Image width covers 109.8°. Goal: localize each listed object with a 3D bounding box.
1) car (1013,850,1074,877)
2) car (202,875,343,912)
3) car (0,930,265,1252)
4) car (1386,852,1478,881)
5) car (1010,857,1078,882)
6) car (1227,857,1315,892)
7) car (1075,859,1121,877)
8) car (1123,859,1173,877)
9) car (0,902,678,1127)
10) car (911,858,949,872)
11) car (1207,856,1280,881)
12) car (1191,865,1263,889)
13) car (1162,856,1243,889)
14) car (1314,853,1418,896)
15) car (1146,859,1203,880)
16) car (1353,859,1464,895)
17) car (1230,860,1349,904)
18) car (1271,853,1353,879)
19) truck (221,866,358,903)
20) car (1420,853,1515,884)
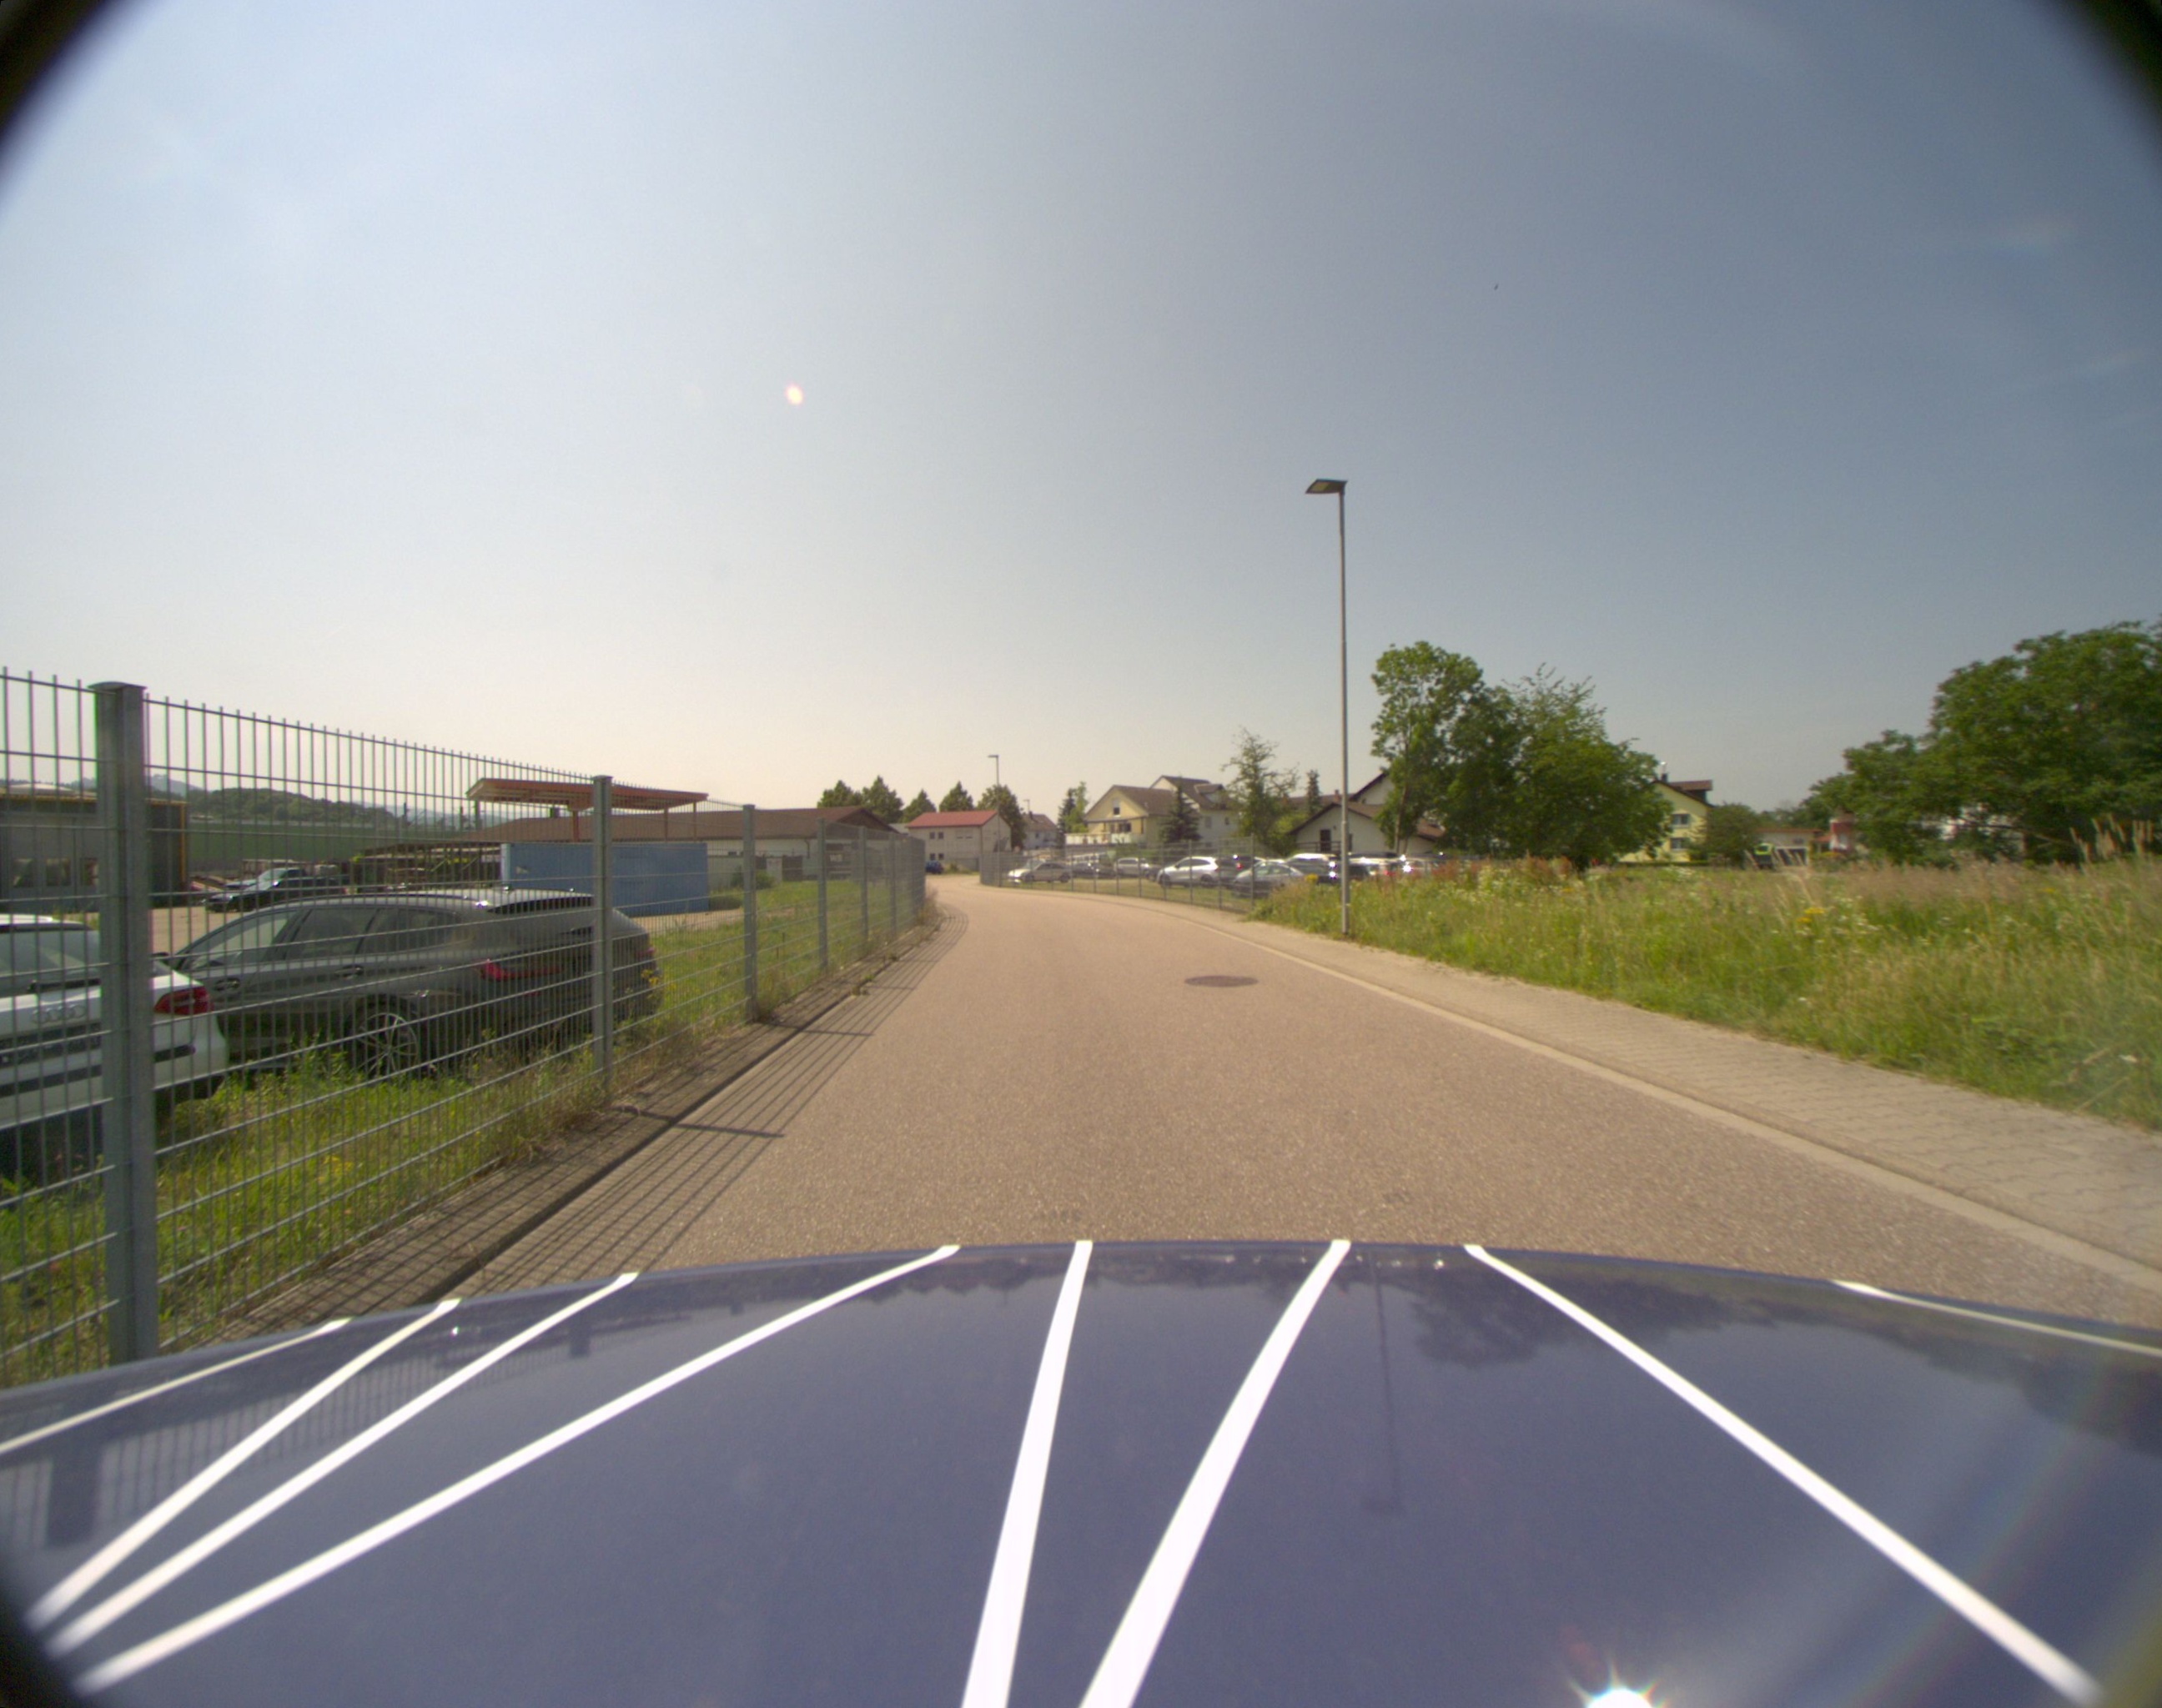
[{"bbox_3d":[-3.027,0.750,62.074,4.715,2.021,2.000,-1,1,3],"label":"car"},{"bbox_3d":[-36.417,1.743,34.357,1.671,1.379,4.005,-1,0,19],"label":"car"},{"bbox_3d":[-6.443,1.109,3.714,3.472,1.310,1.642,-1,0,8],"label":"car"},{"bbox_3d":[17.344,0.596,37.644,1.824,1.309,3.735,-2,1,-41],"label":"car"},{"bbox_3d":[-2.531,1.035,51.449,4.394,1.561,1.823,-1,1,-10],"label":"car"},{"bbox_3d":[8.359,0.880,33.593,1.585,1.411,3.452,-1,0,-42],"label":"car"},{"bbox_3d":[1.438,1.152,64.121,1.824,1.455,3.673,-2,1,-41],"label":"car"},{"bbox_3d":[5.617,1.182,64.121,1.865,1.489,3.988,-1,0,-44],"label":"car"},{"bbox_3d":[-5.740,1.088,5.944,4.383,1.310,1.720,-1,0,8],"label":"car"},{"bbox_3d":[-16.447,1.205,82.791,3.639,1.387,1.584,2,1,13],"label":"car"},{"bbox_3d":[9.987,0.869,46.792,2.004,1.489,3.989,-1,0,-42],"label":"car"},{"bbox_3d":[7.921,1.213,41.533,1.585,1.239,3.636,-1,0,-42],"label":"car"},{"bbox_3d":[5.767,0.850,36.305,1.585,1.481,3.636,-1,0,-42],"label":"car"},{"bbox_3d":[11.102,0.773,29.770,1.585,1.574,3.452,-1,0,-42],"label":"car"},{"bbox_3d":[6.240,1.050,51.047,1.824,1.309,3.399,-2,1,-41],"label":"car"},{"bbox_3d":[14.346,0.969,33.402,2.004,1.489,3.989,-1,0,-42],"label":"car"},{"bbox_3d":[6.974,0.898,25.912,1.584,1.326,4.396,-1,0,-21],"label":"car"},{"bbox_3d":[11.402,0.565,37.599,1.824,1.192,3.399,-2,1,-41],"label":"car"},{"bbox_3d":[-43.661,1.636,42.087,2.056,1.787,4.808,-1,0,21],"label":"truck"},{"bbox_3d":[20.086,0.741,39.580,2.004,1.489,3.989,-1,0,-42],"label":"car"}]
